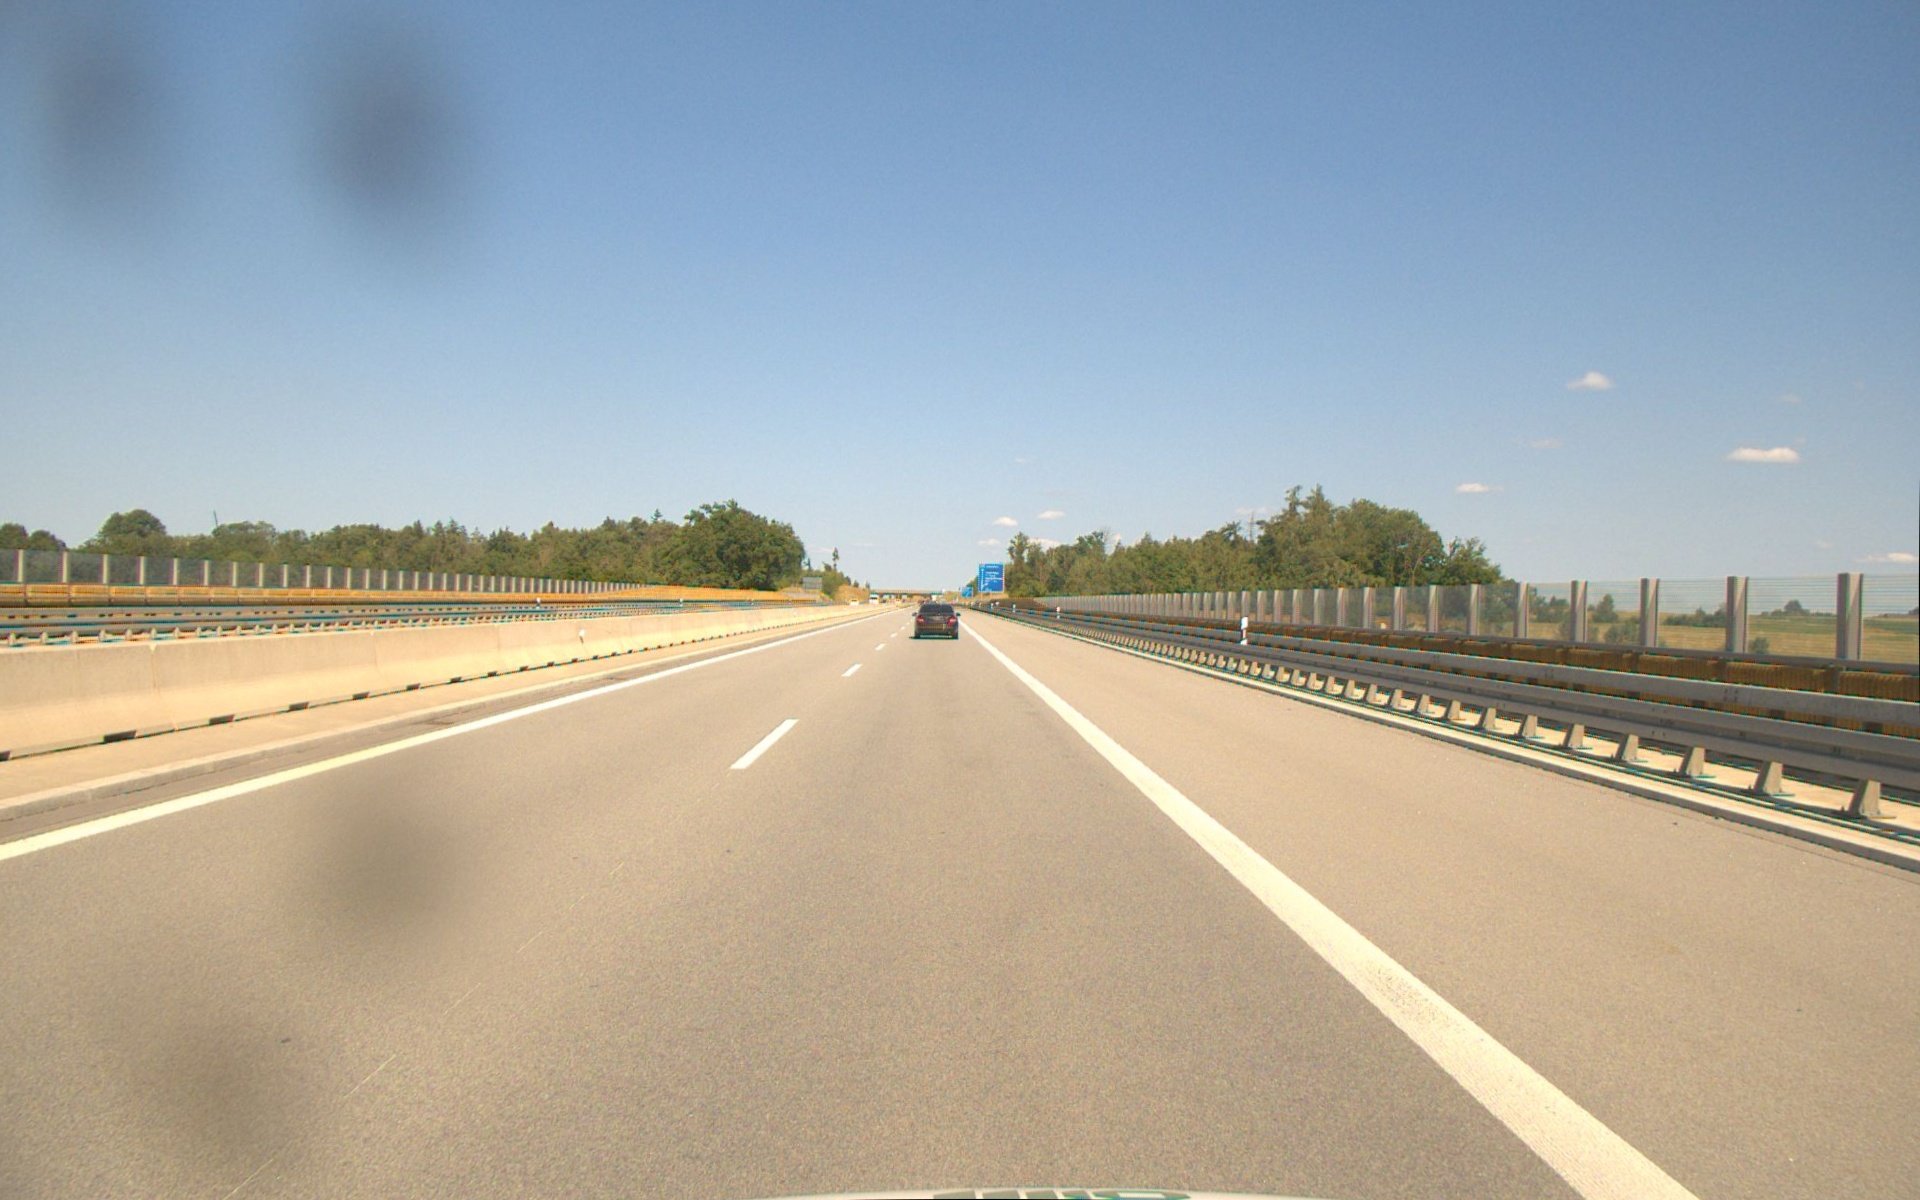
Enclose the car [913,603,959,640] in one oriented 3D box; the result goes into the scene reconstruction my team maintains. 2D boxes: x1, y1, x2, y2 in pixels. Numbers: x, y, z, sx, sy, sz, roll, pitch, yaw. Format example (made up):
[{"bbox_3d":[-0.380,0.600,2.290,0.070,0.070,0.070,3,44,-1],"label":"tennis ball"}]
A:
[{"bbox_3d":[-0.951,0.838,65.785,1.753,1.398,3.916,1,0,-1],"label":"car"}]
